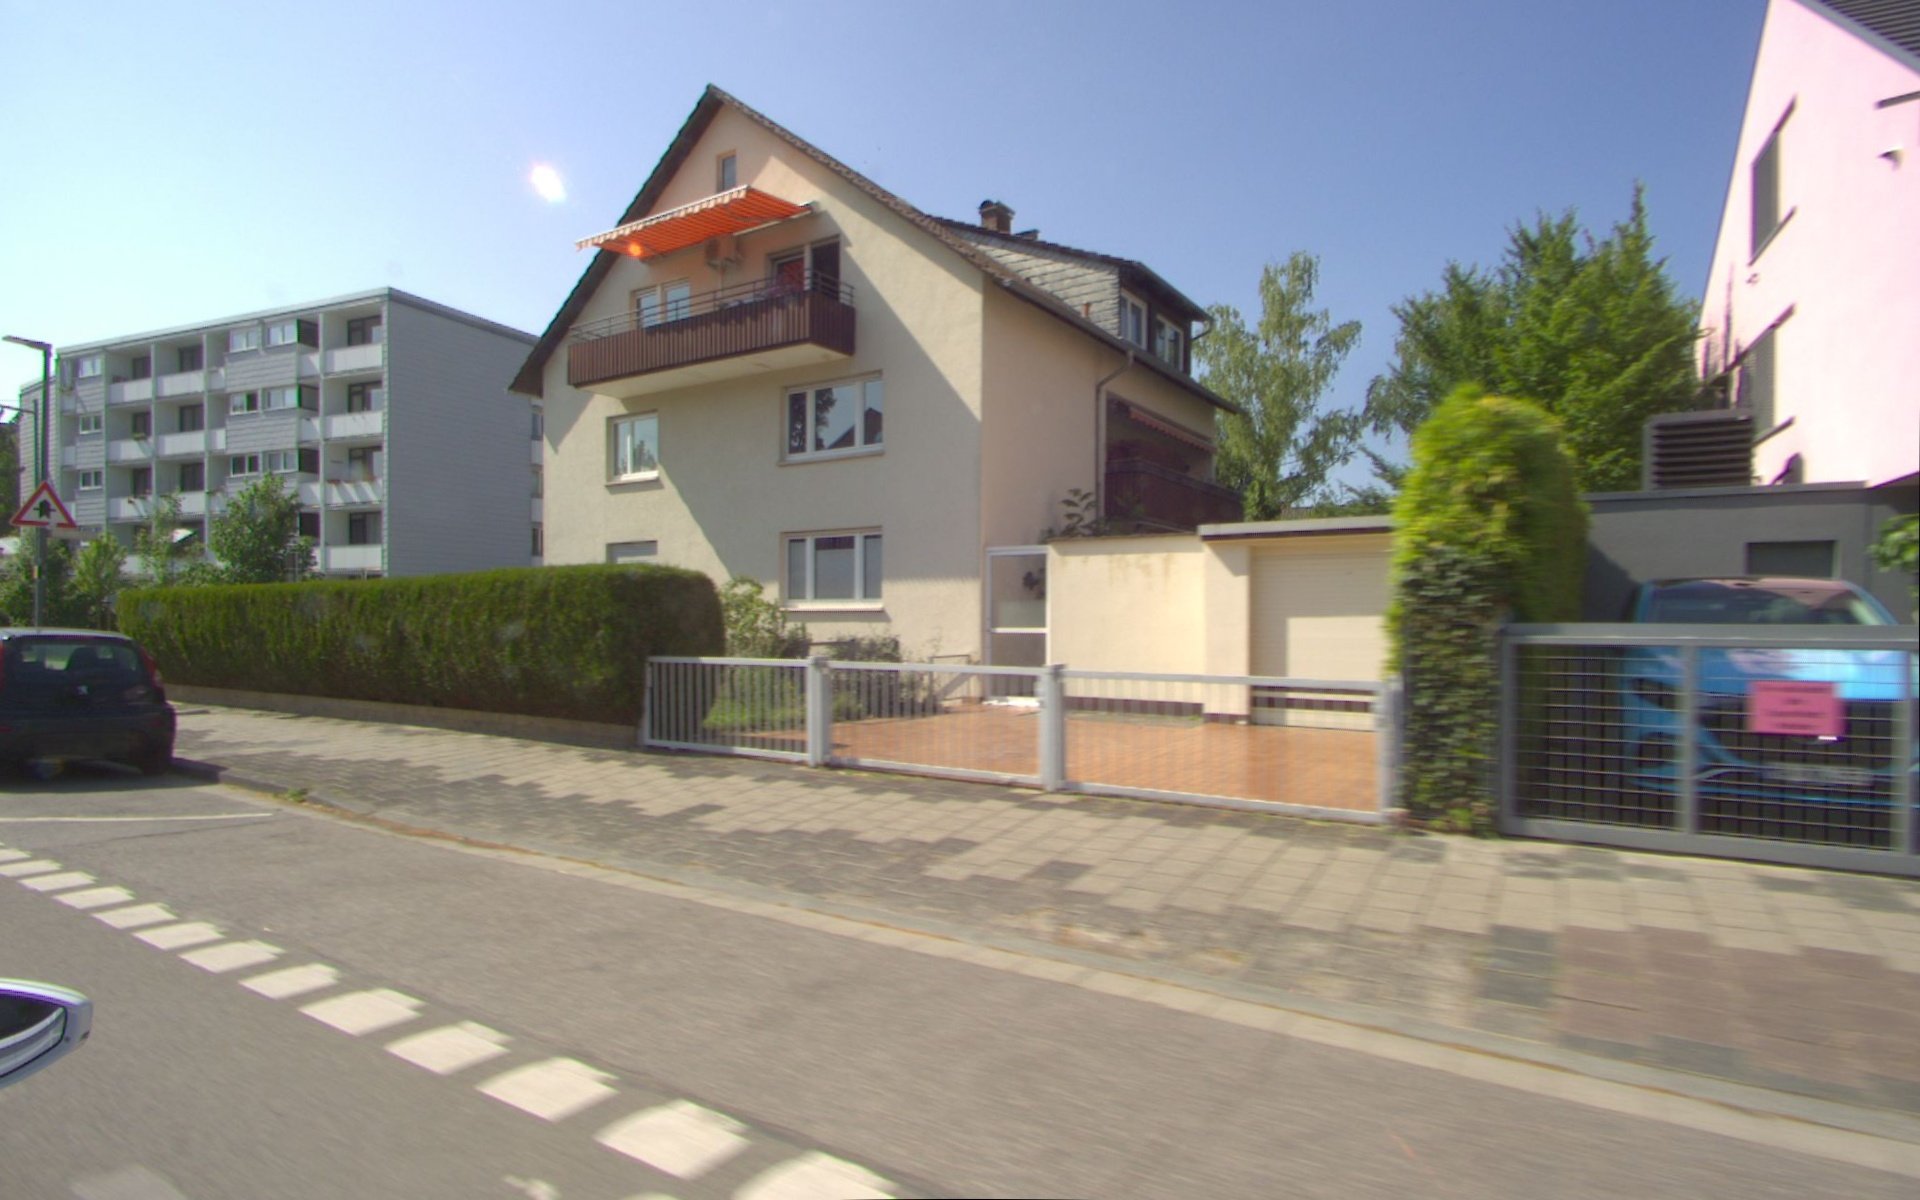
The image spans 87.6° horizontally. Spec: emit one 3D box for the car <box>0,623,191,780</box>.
[{"bbox_3d":[-9.967,0.960,10.584,3.942,1.407,1.615,-1,-2,32],"label":"car"}]

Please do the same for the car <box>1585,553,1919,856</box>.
[{"bbox_3d":[6.346,0.656,8.135,1.949,1.728,5.081,0,-1,30],"label":"car"}]
